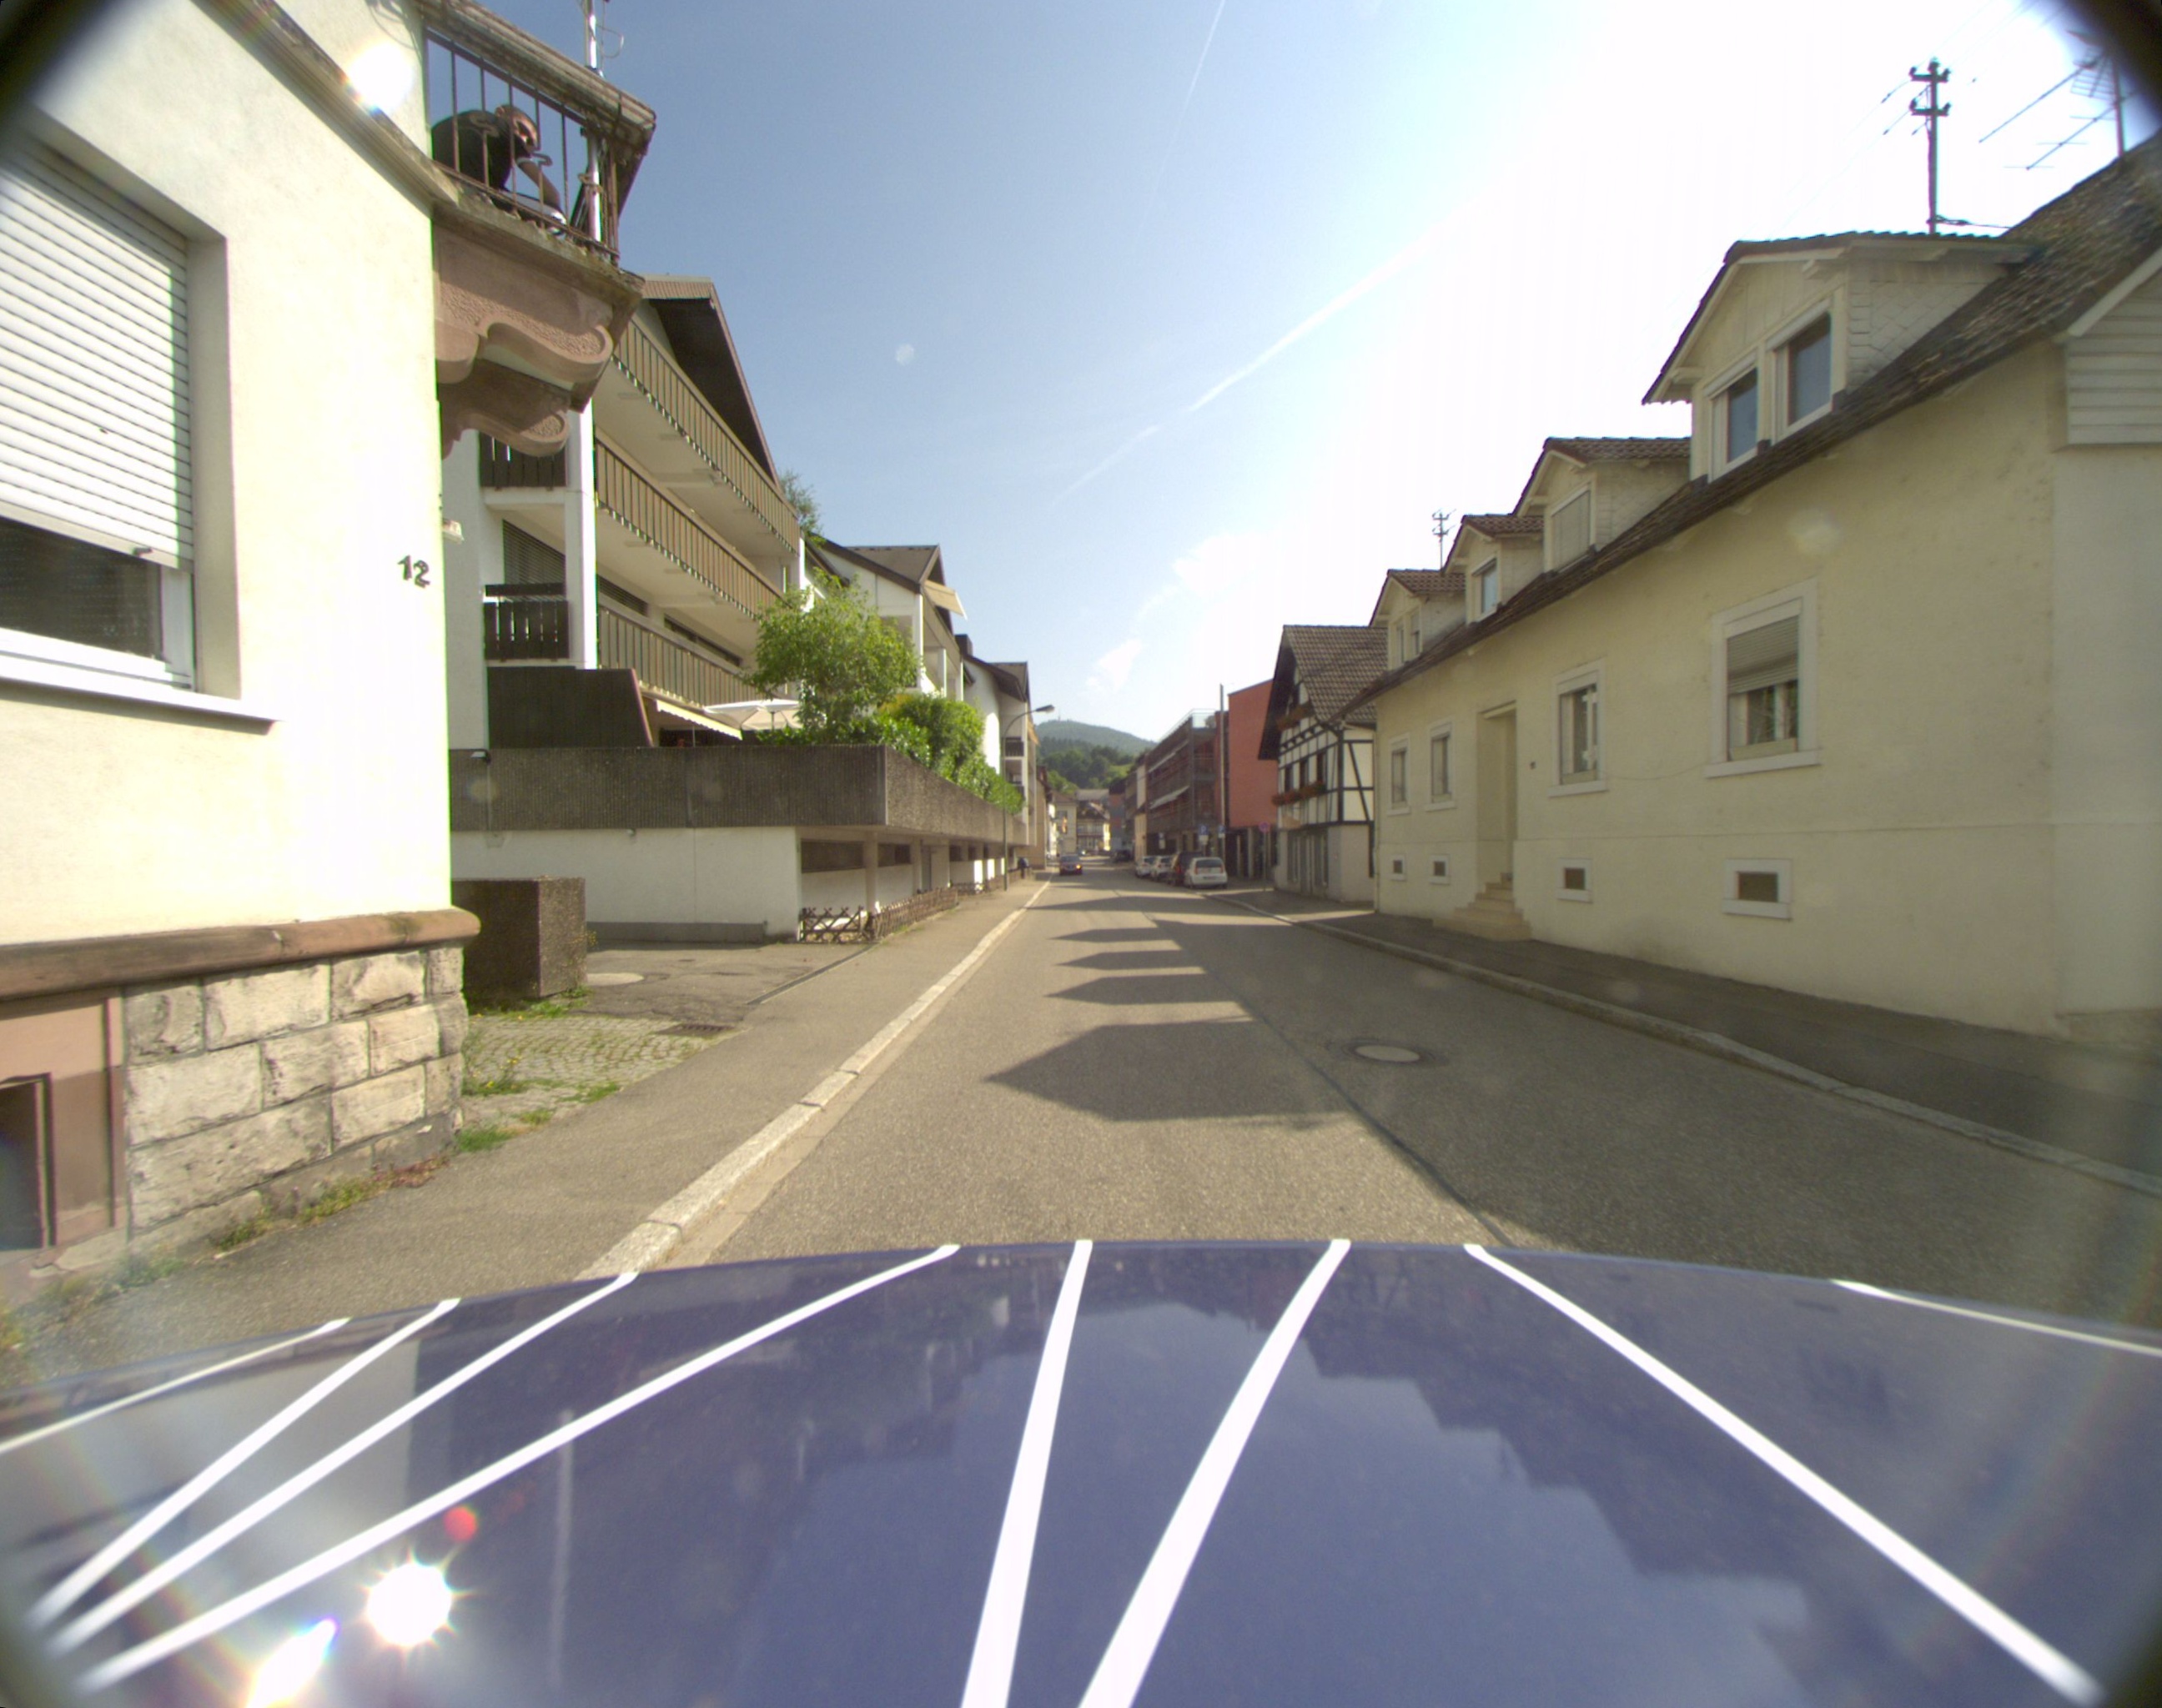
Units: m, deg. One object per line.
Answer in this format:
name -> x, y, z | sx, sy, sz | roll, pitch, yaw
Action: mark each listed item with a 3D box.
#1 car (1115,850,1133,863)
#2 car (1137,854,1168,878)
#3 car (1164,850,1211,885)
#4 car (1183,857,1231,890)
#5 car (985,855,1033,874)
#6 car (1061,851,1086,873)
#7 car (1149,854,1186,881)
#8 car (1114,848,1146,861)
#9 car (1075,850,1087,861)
car -> 5.348, 0.314, 95.235 | 1.787, 1.566, 3.888 | -3, 1, -1
car -> 4.996, 0.825, 53.595 | 1.678, 1.546, 3.764 | -1, 0, -2
car -> 5.699, 0.698, 41.091 | 1.725, 1.786, 4.268 | -1, 0, -3
car -> 5.922, 0.895, 36.037 | 1.670, 1.423, 3.568 | -2, 0, 0
car -> -5.944, 0.875, 63.302 | 3.838, 1.470, 1.700 | -2, 0, -3
car -> -0.633, 0.581, 59.664 | 1.822, 1.652, 3.999 | 0, 0, -2
car -> 5.323, 0.803, 46.978 | 1.679, 1.580, 3.948 | -1, 0, -2
car -> 6.732, 0.092, 103.970 | 4.000, 1.673, 1.834 | 0, -1, -9
car -> -0.025, 0.185, 145.108 | 1.999, 2.002, 3.999 | -2, 1, -2
